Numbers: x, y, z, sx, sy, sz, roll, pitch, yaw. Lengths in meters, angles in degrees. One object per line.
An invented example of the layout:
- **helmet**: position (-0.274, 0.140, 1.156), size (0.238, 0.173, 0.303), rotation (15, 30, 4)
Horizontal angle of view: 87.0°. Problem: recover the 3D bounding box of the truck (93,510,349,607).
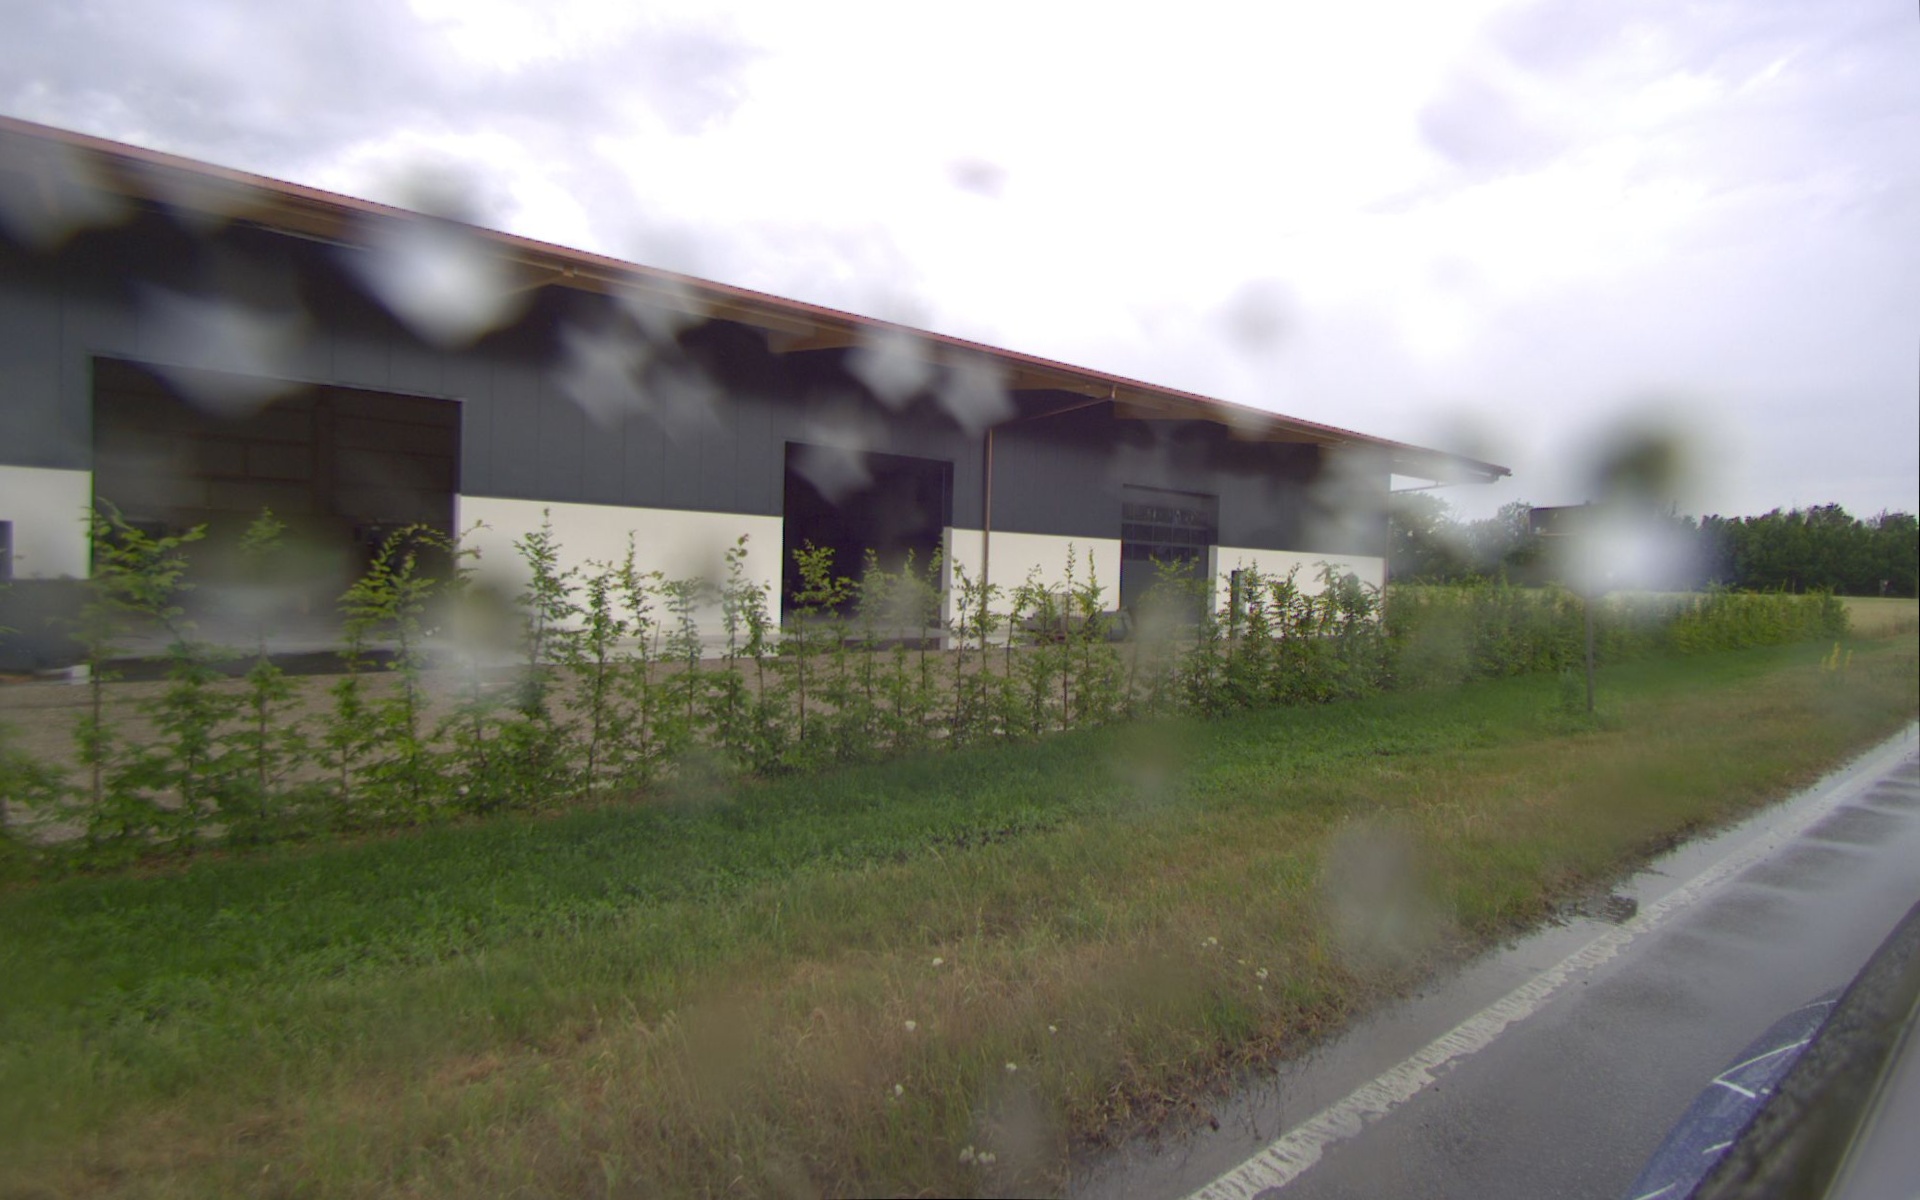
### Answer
- **truck**: position (-21.973, -1.190, 30.321), size (6.046, 2.639, 2.122), rotation (0, 2, -40)
